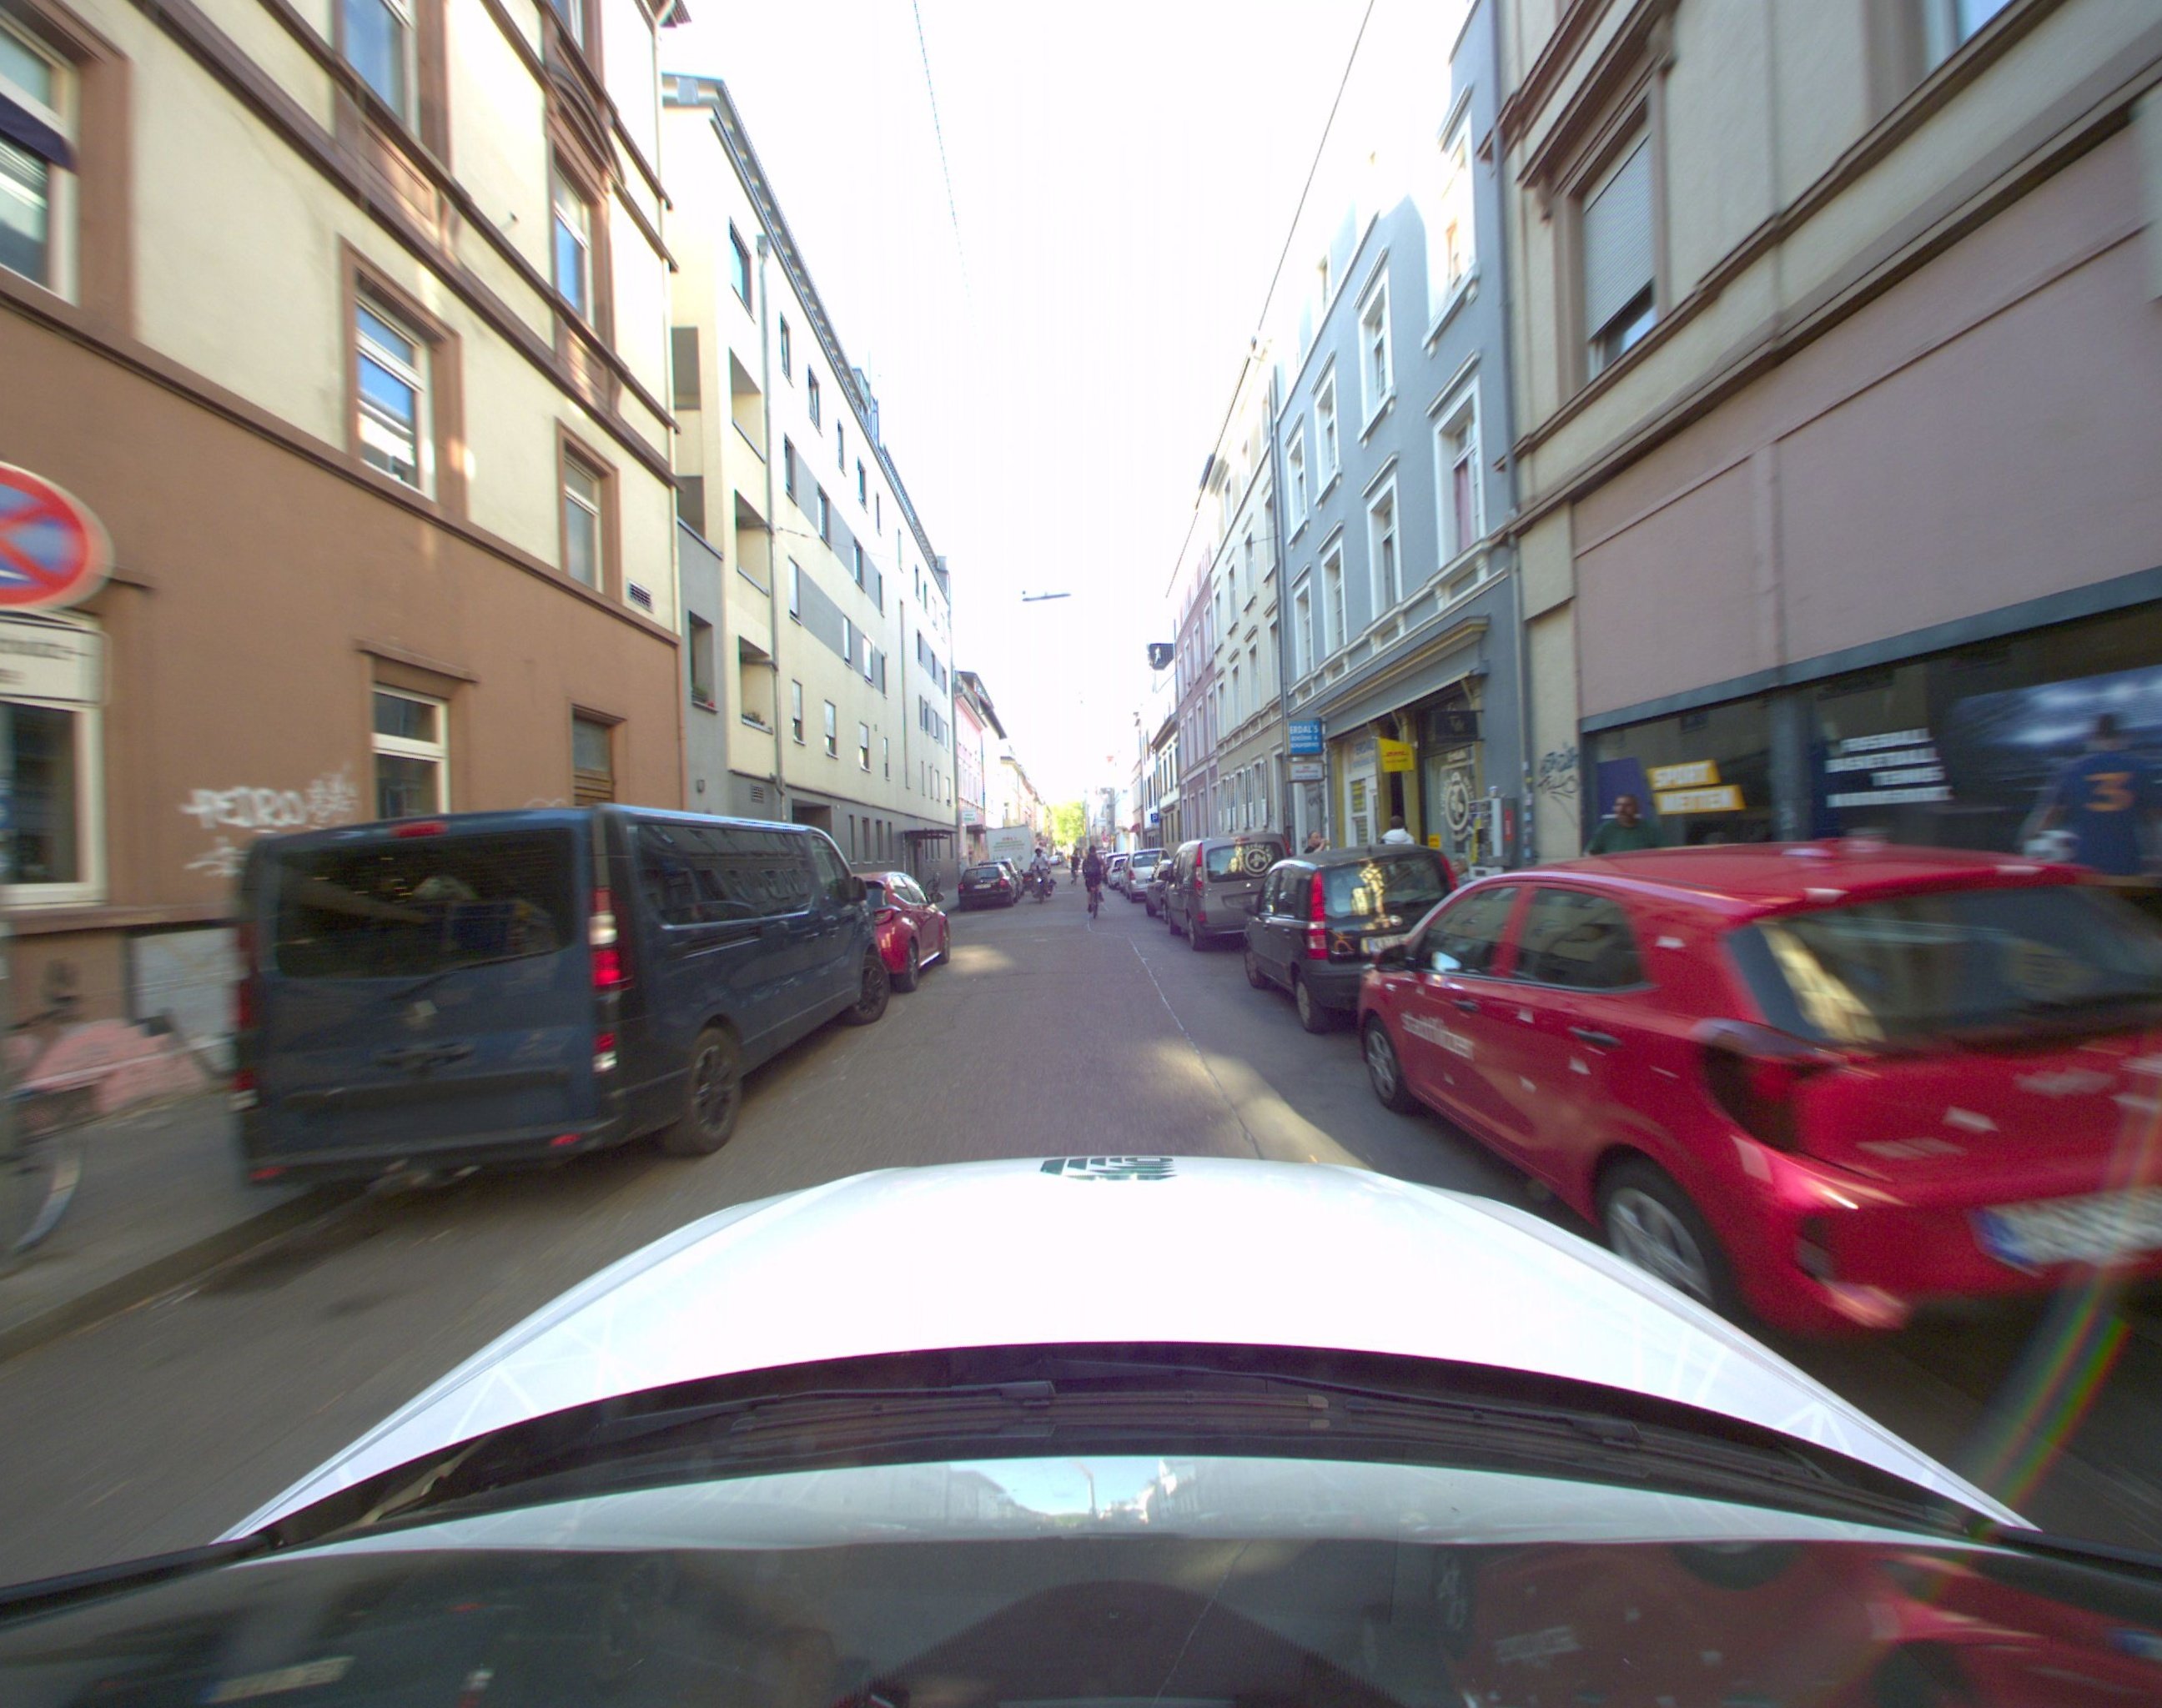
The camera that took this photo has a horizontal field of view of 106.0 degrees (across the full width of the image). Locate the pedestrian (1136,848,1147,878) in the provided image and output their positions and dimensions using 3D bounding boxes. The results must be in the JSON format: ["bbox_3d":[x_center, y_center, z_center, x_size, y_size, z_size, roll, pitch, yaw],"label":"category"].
[{"bbox_3d":[4.146,0.603,55.632,0.642,2.014,0.763,-1,-1,-1],"label":"pedestrian"}]

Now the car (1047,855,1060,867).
[{"bbox_3d":[-4.248,1.103,126.549,1.745,1.683,3.794,-3,-1,-1],"label":"car"}]

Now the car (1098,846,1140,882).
[{"bbox_3d":[2.110,0.568,46.564,1.913,1.705,4.363,-7,-1,-1],"label":"car"}]

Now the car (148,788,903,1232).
[{"bbox_3d":[-2.987,0.664,6.183,2.013,1.879,5.297,-1,0,1],"label":"car"}]

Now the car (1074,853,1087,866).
[{"bbox_3d":[-0.086,0.724,103.623,1.606,1.560,3.608,-1,-1,-1],"label":"car"}]

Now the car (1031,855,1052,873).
[{"bbox_3d":[-3.738,0.988,77.512,1.745,1.573,3.794,-3,-1,-1],"label":"car"}]

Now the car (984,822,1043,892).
[{"bbox_3d":[-3.505,0.160,43.708,2.336,3.291,7.152,-4,-1,0],"label":"car"}]

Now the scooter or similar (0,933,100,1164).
[{"bbox_3d":[-6.062,1.083,4.198,0.346,1.216,1.391,-1,-1,-1],"label":"scooter or similar"}]

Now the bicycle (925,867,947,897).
[{"bbox_3d":[-6.093,1.158,34.295,0.488,1.164,1.773,-4,0,0],"label":"bicycle"}]

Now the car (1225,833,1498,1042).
[{"bbox_3d":[2.570,0.692,8.272,1.564,1.556,3.314,-5,-1,1],"label":"car"}]

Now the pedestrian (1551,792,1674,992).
[{"bbox_3d":[4.858,0.327,7.475,0.629,1.740,0.656,-1,-1,-14],"label":"pedestrian"}]

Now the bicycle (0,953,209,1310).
[{"bbox_3d":[-4.320,1.094,3.044,0.551,1.216,1.976,-1,-1,-18],"label":"bicycle"}]

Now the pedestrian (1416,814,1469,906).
[{"bbox_3d":[4.954,0.087,11.150,0.525,1.222,0.518,-2,-1,39],"label":"pedestrian"}]

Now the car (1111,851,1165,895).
[{"bbox_3d":[2.261,0.741,33.351,1.692,1.543,4.626,-4,-1,-1],"label":"car"}]

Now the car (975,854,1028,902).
[{"bbox_3d":[-3.196,0.918,33.353,1.712,1.650,4.243,-5,1,-1],"label":"car"}]

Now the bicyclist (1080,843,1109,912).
[{"bbox_3d":[0.323,0.576,20.324,0.666,1.677,1.096,-1,-1,-1],"label":"bicyclist"}]

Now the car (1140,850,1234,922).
[{"bbox_3d":[2.425,0.707,19.422,1.549,1.511,3.607,-1,-1,-3],"label":"car"}]

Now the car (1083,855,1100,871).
[{"bbox_3d":[1.102,0.975,87.526,1.606,1.633,3.608,-1,-1,-1],"label":"car"}]

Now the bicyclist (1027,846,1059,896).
[{"bbox_3d":[-1.285,0.569,27.936,0.947,1.628,0.953,-4,0,-1],"label":"bicyclist"}]

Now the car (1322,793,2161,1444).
[{"bbox_3d":[2.490,0.656,3.802,1.602,1.572,3.552,-1,-1,-1],"label":"car"}]

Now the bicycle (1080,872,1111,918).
[{"bbox_3d":[0.339,0.997,20.362,0.675,1.074,1.940,-1,-1,-1],"label":"bicycle"}]

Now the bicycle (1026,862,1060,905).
[{"bbox_3d":[-1.272,0.973,27.942,0.974,1.314,2.554,-4,0,0],"label":"bicycle"}]

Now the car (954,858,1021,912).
[{"bbox_3d":[-3.064,0.972,27.490,1.712,1.478,4.496,-5,1,-1],"label":"car"}]

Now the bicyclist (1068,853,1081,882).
[{"bbox_3d":[-0.377,0.719,44.683,0.669,1.567,0.715,-1,-1,-3],"label":"bicyclist"}]

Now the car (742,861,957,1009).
[{"bbox_3d":[-2.924,0.938,11.185,1.746,1.522,3.867,-5,-1,-1],"label":"car"}]

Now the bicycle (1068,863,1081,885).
[{"bbox_3d":[-0.363,1.080,44.681,0.647,1.129,2.134,-1,-1,-1],"label":"bicycle"}]

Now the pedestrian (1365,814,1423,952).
[{"bbox_3d":[4.044,0.365,10.549,0.558,1.740,0.428,-1,-1,4],"label":"pedestrian"}]

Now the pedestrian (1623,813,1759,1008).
[{"bbox_3d":[5.048,0.445,6.775,0.586,1.529,0.657,-1,-1,-7],"label":"pedestrian"}]

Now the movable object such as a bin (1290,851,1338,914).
[{"bbox_3d":[4.834,0.589,16.918,0.761,1.243,0.579,-3,-1,-4],"label":"movable object such as a bin"}]

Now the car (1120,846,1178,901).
[{"bbox_3d":[2.239,0.633,27.619,1.552,1.712,3.556,-1,-1,-1],"label":"car"}]

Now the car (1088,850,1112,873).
[{"bbox_3d":[1.609,0.640,70.155,1.746,1.878,3.968,-3,-1,-3],"label":"car"}]

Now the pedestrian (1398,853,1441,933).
[{"bbox_3d":[5.259,0.597,12.676,0.437,1.222,0.514,-1,-1,1],"label":"pedestrian"}]

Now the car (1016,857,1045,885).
[{"bbox_3d":[-3.546,1.177,57.976,1.748,1.816,4.075,-4,-1,-2],"label":"car"}]

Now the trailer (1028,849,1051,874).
[{"bbox_3d":[-3.705,0.692,73.321,1.876,2.092,3.735,-3,-1,-1],"label":"trailer"}]

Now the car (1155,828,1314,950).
[{"bbox_3d":[2.514,0.552,14.452,1.894,1.793,4.312,-1,-1,-1],"label":"car"}]

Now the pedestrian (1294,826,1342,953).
[{"bbox_3d":[3.285,0.485,11.340,0.440,1.704,0.654,-1,-1,-1],"label":"pedestrian"}]

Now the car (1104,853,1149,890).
[{"bbox_3d":[2.098,0.789,38.492,1.682,1.543,4.044,-4,-1,-1],"label":"car"}]
